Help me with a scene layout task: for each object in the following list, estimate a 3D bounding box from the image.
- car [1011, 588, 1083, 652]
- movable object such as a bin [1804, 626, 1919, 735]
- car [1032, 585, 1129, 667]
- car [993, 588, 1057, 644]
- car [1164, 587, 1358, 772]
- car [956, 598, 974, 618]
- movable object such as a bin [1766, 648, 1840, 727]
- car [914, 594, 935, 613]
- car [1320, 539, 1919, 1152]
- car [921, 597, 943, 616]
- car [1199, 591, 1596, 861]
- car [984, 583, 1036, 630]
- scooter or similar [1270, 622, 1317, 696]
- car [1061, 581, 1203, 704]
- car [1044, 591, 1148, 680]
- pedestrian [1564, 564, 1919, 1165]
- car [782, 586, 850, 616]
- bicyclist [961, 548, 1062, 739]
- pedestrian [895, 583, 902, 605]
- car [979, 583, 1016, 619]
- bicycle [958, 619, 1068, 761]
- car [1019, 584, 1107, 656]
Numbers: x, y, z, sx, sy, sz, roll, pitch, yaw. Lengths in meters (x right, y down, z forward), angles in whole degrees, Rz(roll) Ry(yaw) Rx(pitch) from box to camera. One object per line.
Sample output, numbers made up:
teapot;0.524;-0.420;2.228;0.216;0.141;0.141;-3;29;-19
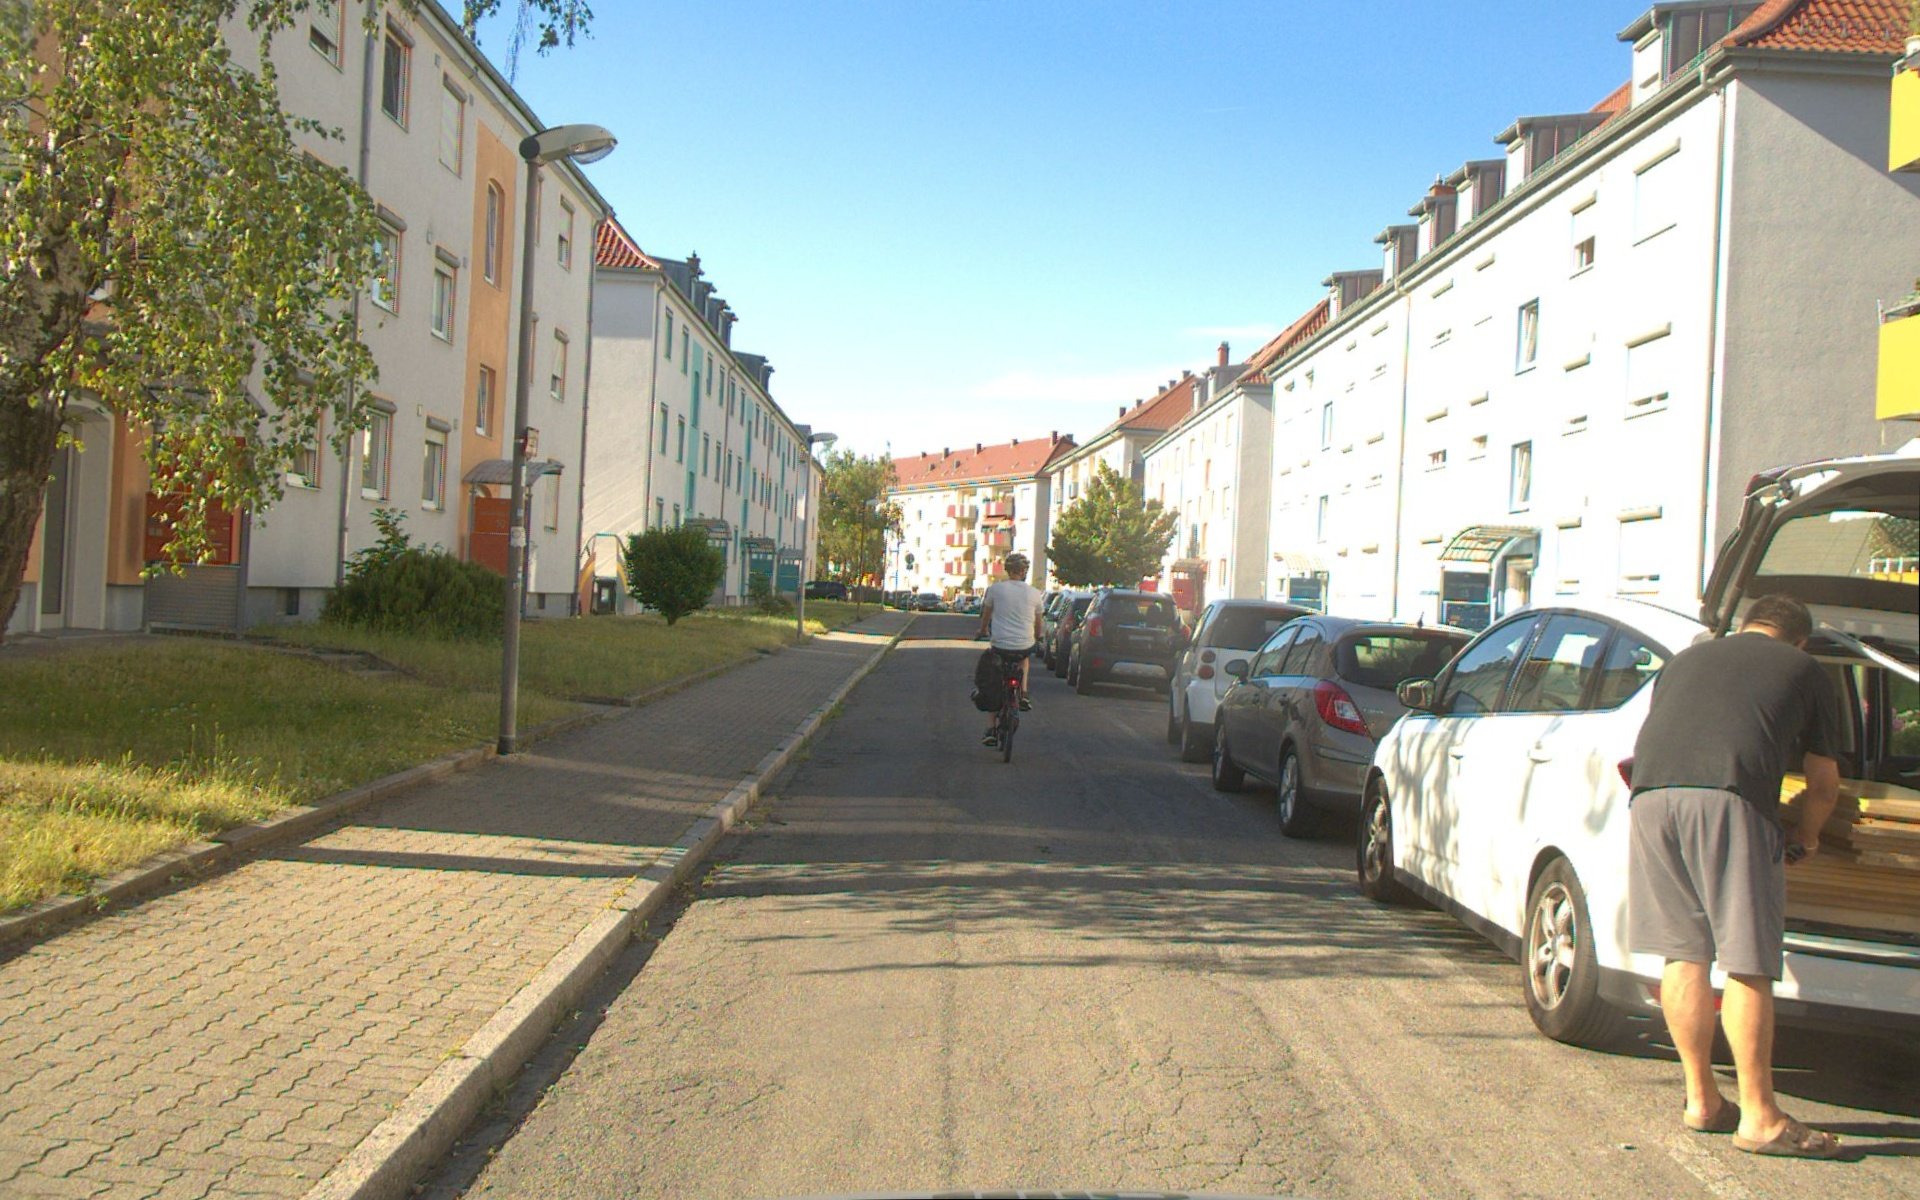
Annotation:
car;2.526;0.557;48.802;1.678;1.623;4.397;6;0;-1
movable object such as a bin;12.557;1.108;22.766;1.301;1.431;1.106;2;-2;0
car;2.672;0.542;37.544;1.656;1.602;4.433;5;0;-2
car;2.179;0.521;56.391;1.824;1.697;4.126;5;0;-1
car;2.949;0.729;16.668;1.449;1.555;2.942;5;0;3
car;0.415;0.669;140.062;1.354;1.522;3.075;4;0;-3
movable object such as a bin;11.626;1.196;22.833;0.629;1.053;0.757;2;-2;0
car;-2.750;0.281;127.915;1.440;1.358;3.139;3;0;-3
car;3.063;0.728;7.074;1.953;1.640;4.996;5;0;1
car;-2.133;0.480;123.559;1.440;1.359;3.137;0;0;-5
car;2.991;0.770;12.193;1.660;1.516;3.983;5;0;-2
car;1.986;0.238;67.045;1.667;1.699;4.378;5;0;-2
scooter or similar;5.549;0.963;27.568;0.474;1.169;1.589;0;0;0
car;2.691;0.621;26.841;1.747;1.676;4.468;5;0;0
car;2.562;0.635;31.936;1.608;1.524;4.156;3;0;0
pedestrian;2.342;0.714;4.906;0.724;1.602;0.879;2;0;-1
car;-9.088;0.071;104.483;4.149;1.667;1.581;3;0;-5
bicyclist;0.458;0.386;15.135;0.792;1.672;0.898;2;0;-3
pedestrian;-4.423;-0.421;119.558;0.425;1.602;0.543;3;0;-1
car;2.029;0.041;90.559;1.641;1.769;3.941;4;0;-3
bicycle;0.450;0.781;15.163;0.792;1.148;2.101;2;0;-3
car;2.645;0.477;43.596;1.716;1.645;4.450;6;0;-3
